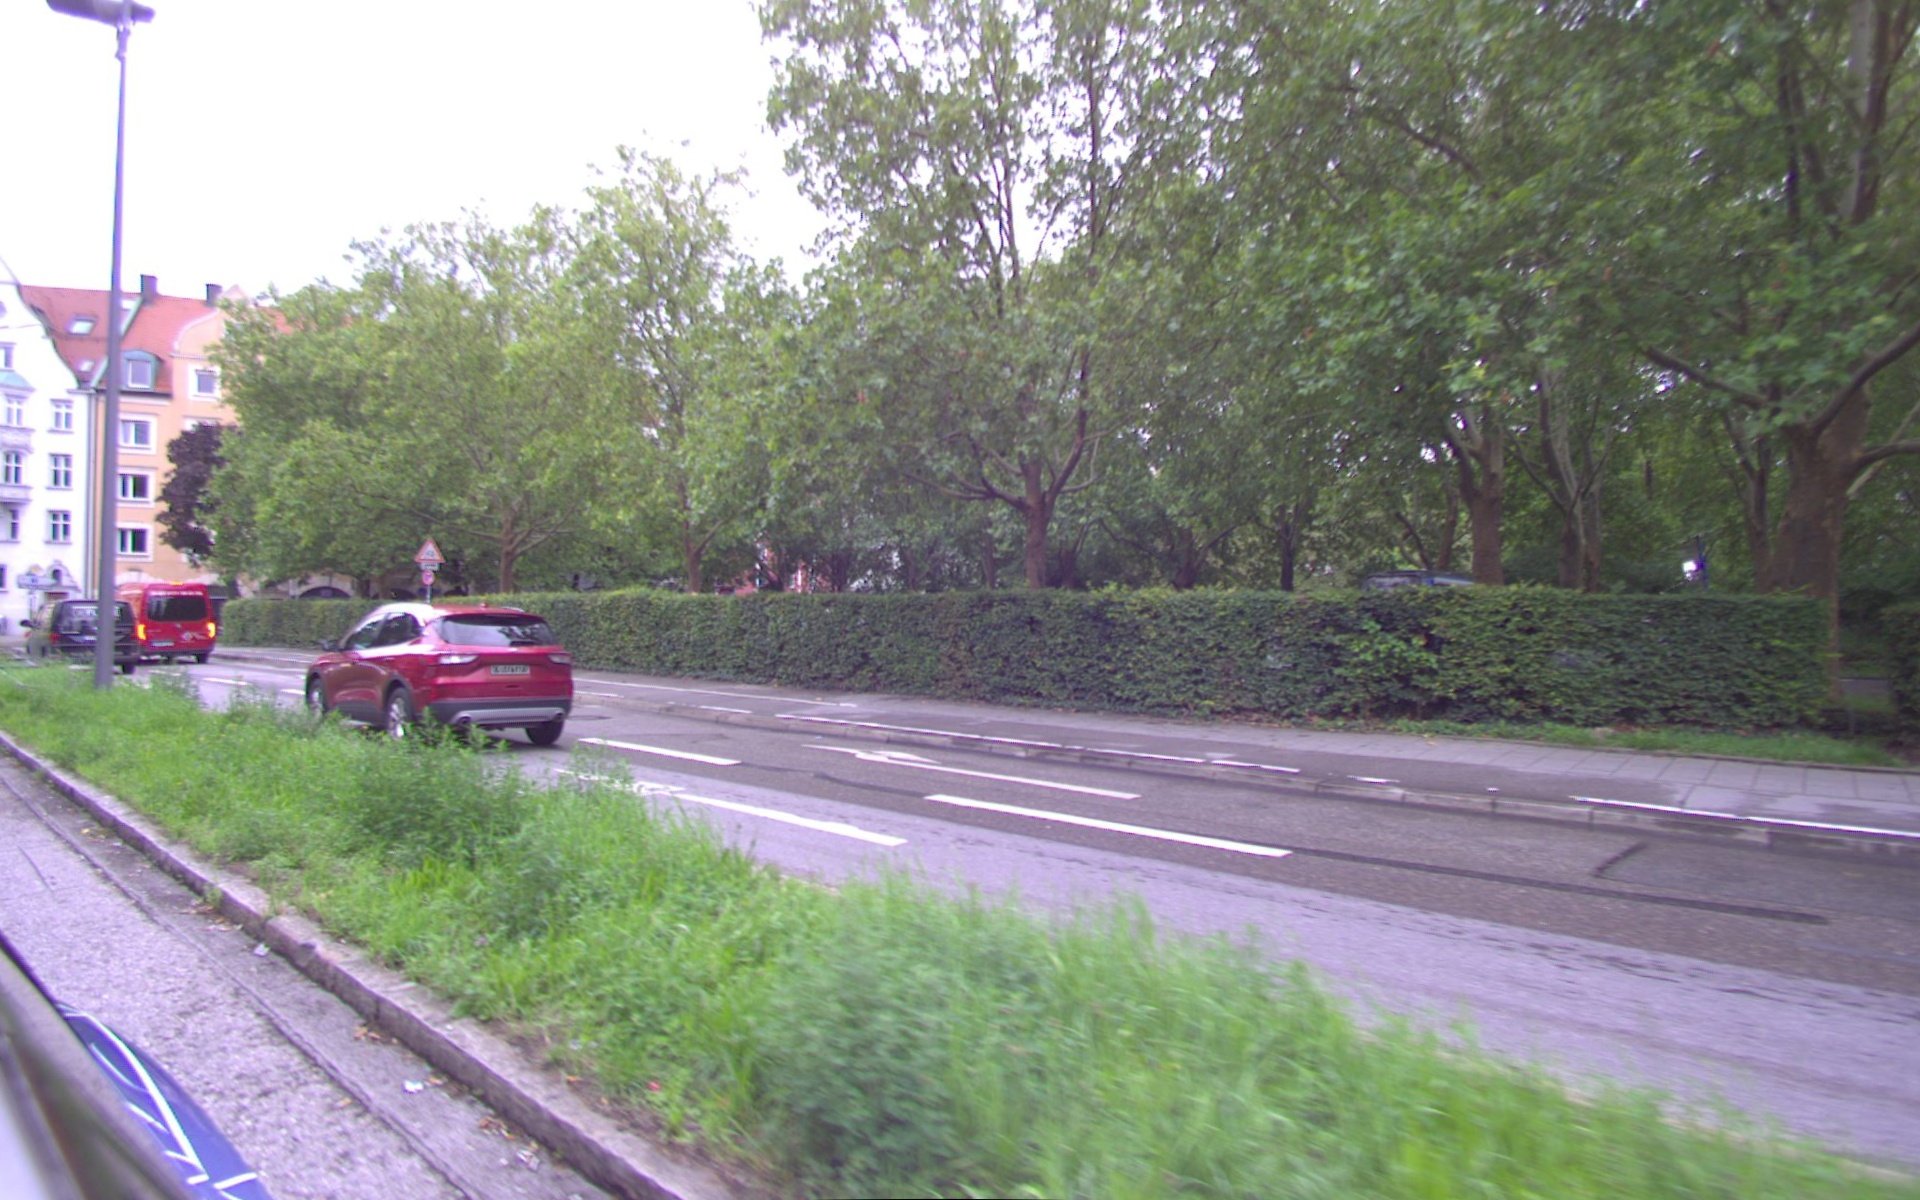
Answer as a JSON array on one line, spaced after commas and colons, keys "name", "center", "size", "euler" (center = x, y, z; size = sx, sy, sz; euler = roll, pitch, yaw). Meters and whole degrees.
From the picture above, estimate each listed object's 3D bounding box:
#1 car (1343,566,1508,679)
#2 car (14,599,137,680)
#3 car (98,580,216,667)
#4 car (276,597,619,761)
[{"name": "car", "center": [11.863, 0.489, 25.531], "size": [2.001, 2.554, 5.779], "euler": [0, 0, 44]}, {"name": "car", "center": [-23.800, 1.024, 27.179], "size": [4.702, 2.006, 1.838], "euler": [-1, -2, 41]}, {"name": "car", "center": [-26.371, 0.846, 33.151], "size": [6.080, 2.609, 2.080], "euler": [-3, -4, 43]}, {"name": "car", "center": [-6.516, 0.910, 12.605], "size": [4.936, 1.650, 2.081], "euler": [-3, -4, 41]}]
